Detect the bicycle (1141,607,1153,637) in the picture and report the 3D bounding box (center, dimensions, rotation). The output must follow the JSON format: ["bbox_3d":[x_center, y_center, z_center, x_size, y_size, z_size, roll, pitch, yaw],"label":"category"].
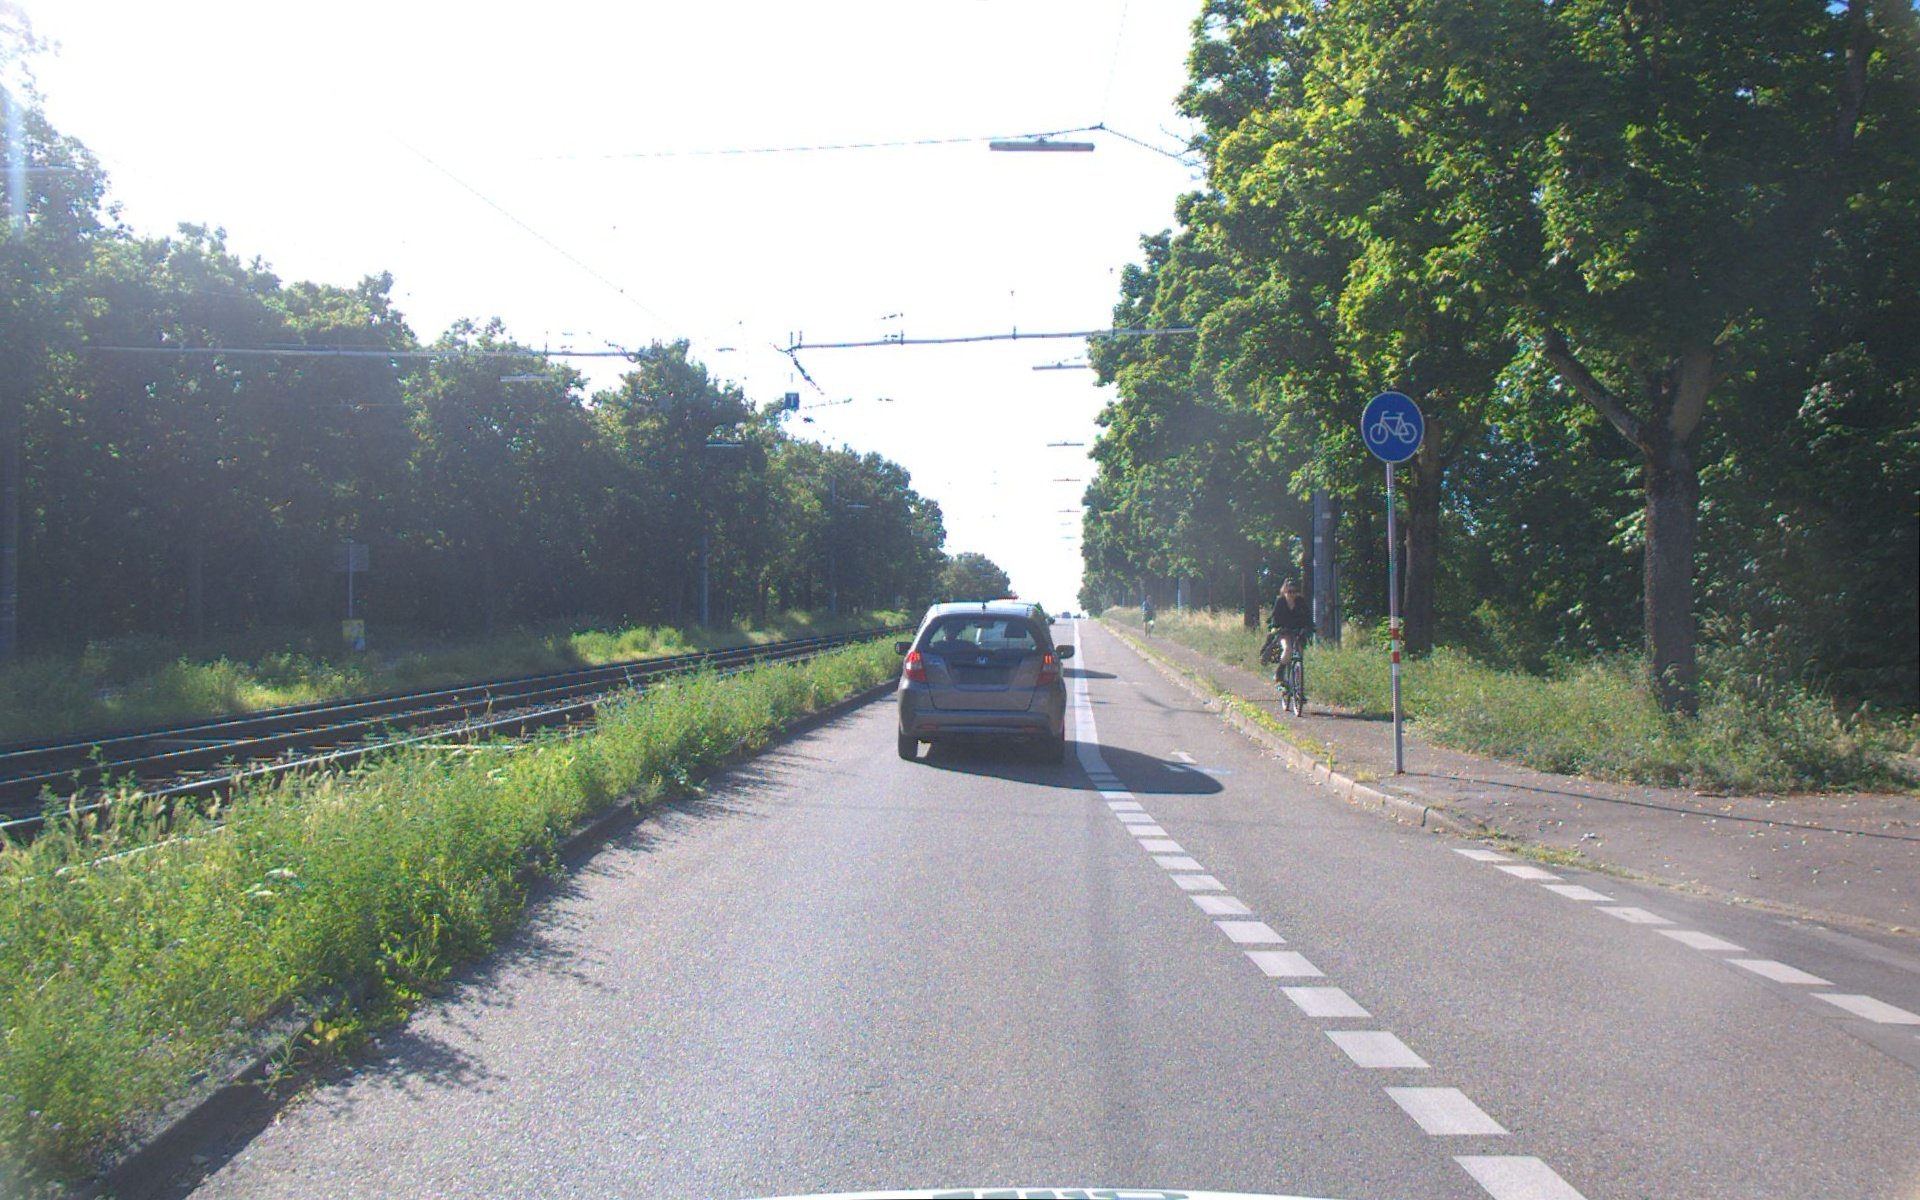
[{"bbox_3d":[7.893,0.916,69.756,0.409,1.209,1.722,1,0,3],"label":"bicycle"}]

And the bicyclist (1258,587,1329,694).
[{"bbox_3d":[4.466,0.532,22.196,0.740,1.392,0.806,-1,0,-3],"label":"bicyclist"}]

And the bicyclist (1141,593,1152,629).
[{"bbox_3d":[7.893,0.459,70.042,0.397,1.533,0.575,0,0,3],"label":"bicyclist"}]

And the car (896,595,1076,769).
[{"bbox_3d":[0.331,0.757,17.298,1.636,1.542,3.675,2,1,3],"label":"car"}]

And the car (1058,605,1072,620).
[{"bbox_3d":[16.540,1.948,260.416,1.952,2.048,4.002,-5,-2,5],"label":"car"}]

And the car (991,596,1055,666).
[{"bbox_3d":[1.495,0.730,38.406,1.323,1.554,3.125,0,-1,5],"label":"car"}]

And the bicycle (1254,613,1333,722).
[{"bbox_3d":[4.396,0.854,21.955,0.606,1.210,2.508,-4,2,3],"label":"bicycle"}]
